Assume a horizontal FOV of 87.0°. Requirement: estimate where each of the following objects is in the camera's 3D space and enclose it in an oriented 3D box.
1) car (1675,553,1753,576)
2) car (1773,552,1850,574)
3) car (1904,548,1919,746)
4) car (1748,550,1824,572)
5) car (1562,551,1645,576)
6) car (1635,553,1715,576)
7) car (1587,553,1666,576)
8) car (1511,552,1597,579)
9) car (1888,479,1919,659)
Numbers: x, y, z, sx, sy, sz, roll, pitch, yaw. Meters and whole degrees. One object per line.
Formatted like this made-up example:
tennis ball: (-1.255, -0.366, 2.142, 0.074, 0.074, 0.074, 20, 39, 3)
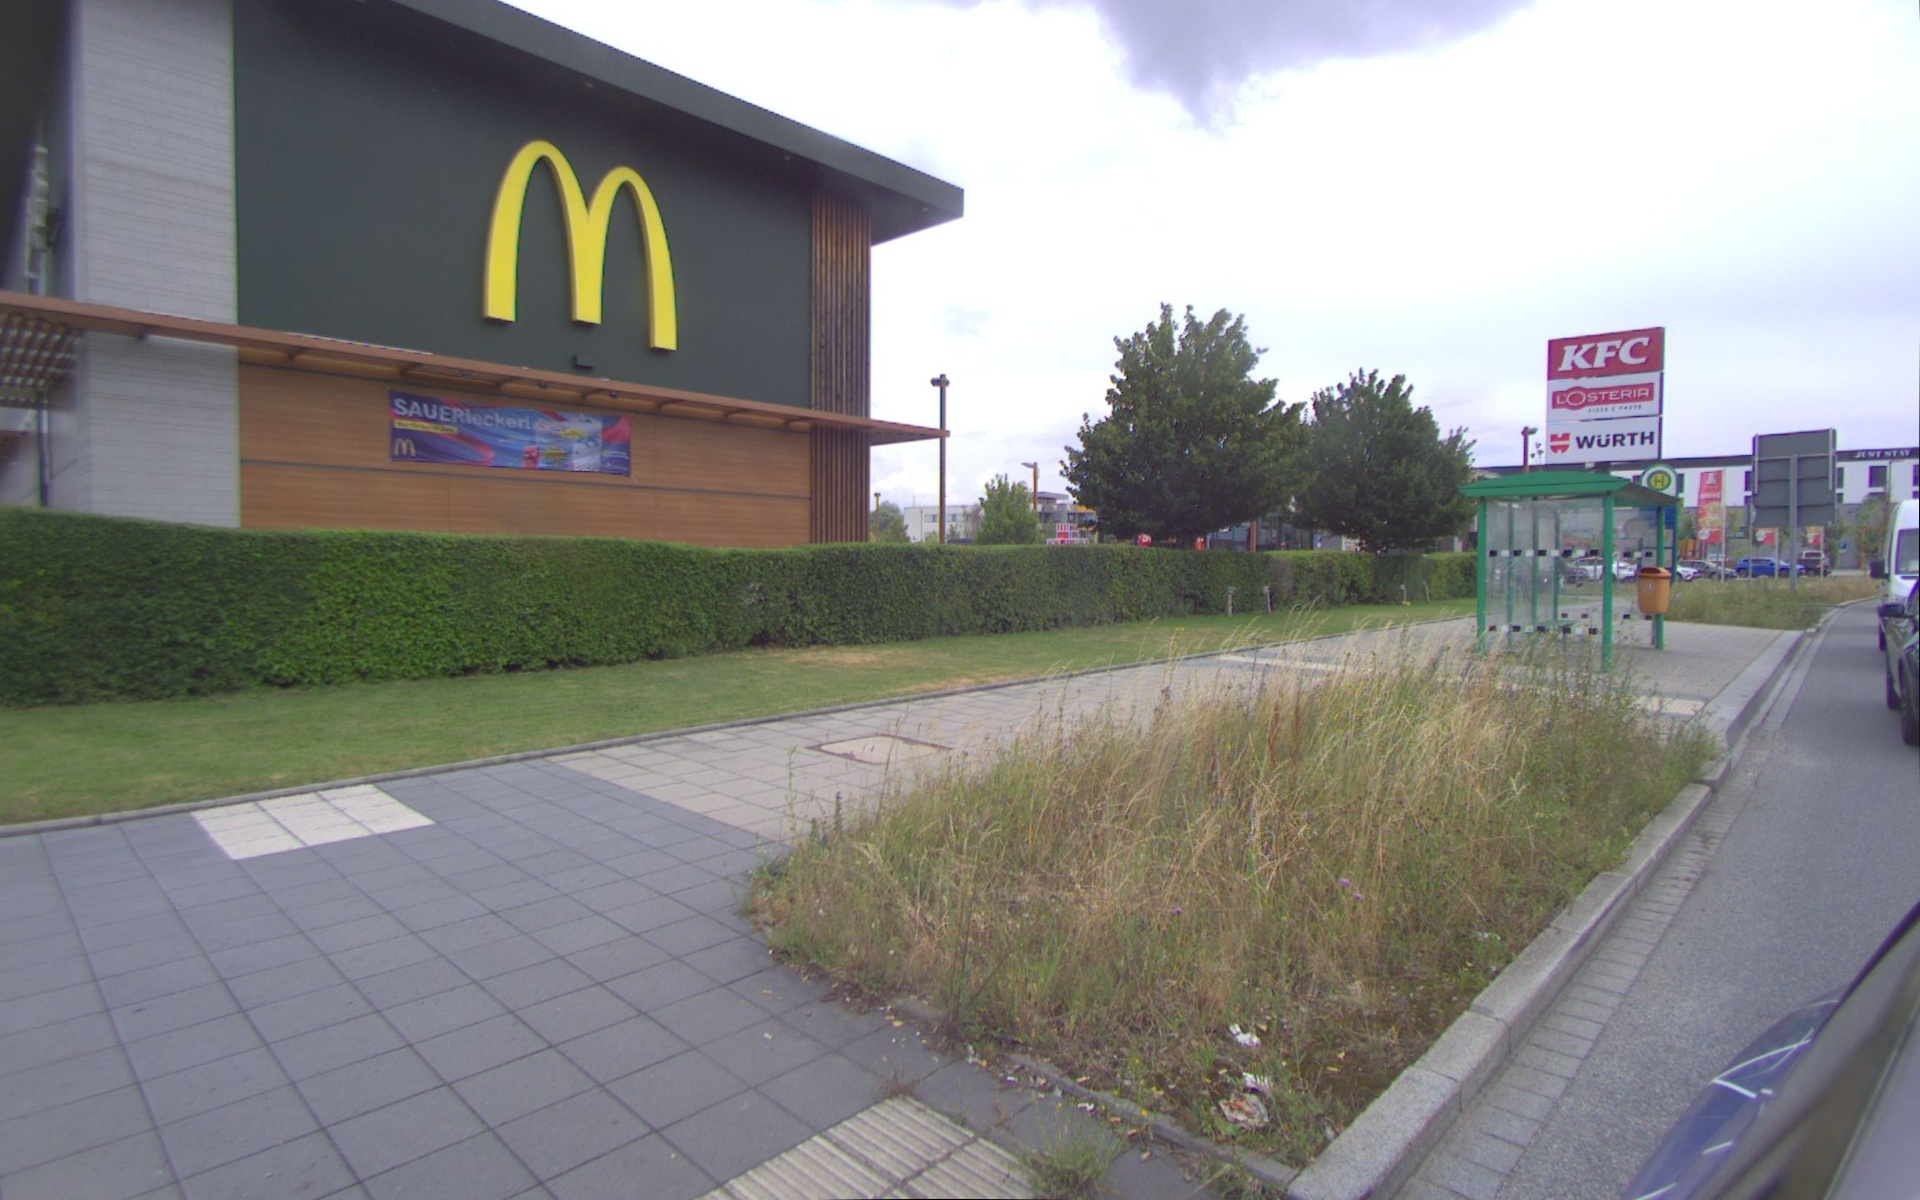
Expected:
car: (52.603, -2.480, 70.621, 1.812, 1.504, 4.002, -2, 2, -34)
car: (63.513, -2.728, 75.504, 1.811, 1.504, 4.004, -3, 2, -30)
car: (9.865, 0.344, 9.131, 1.862, 1.627, 3.940, 1, 3, 42)
car: (61.051, -2.869, 74.865, 1.811, 1.504, 4.004, -3, 2, -30)
car: (39.955, -2.273, 62.923, 1.814, 1.541, 3.997, -2, 3, -38)
car: (48.250, -2.433, 68.371, 1.812, 1.504, 4.002, -2, 2, -34)
car: (43.763, -2.332, 66.502, 1.814, 1.504, 3.997, -2, 3, -39)
car: (34.583, -1.998, 58.996, 1.814, 1.504, 3.997, -2, 3, -38)
car: (16.253, -0.518, 16.151, 2.020, 2.558, 6.013, 1, 3, 42)
